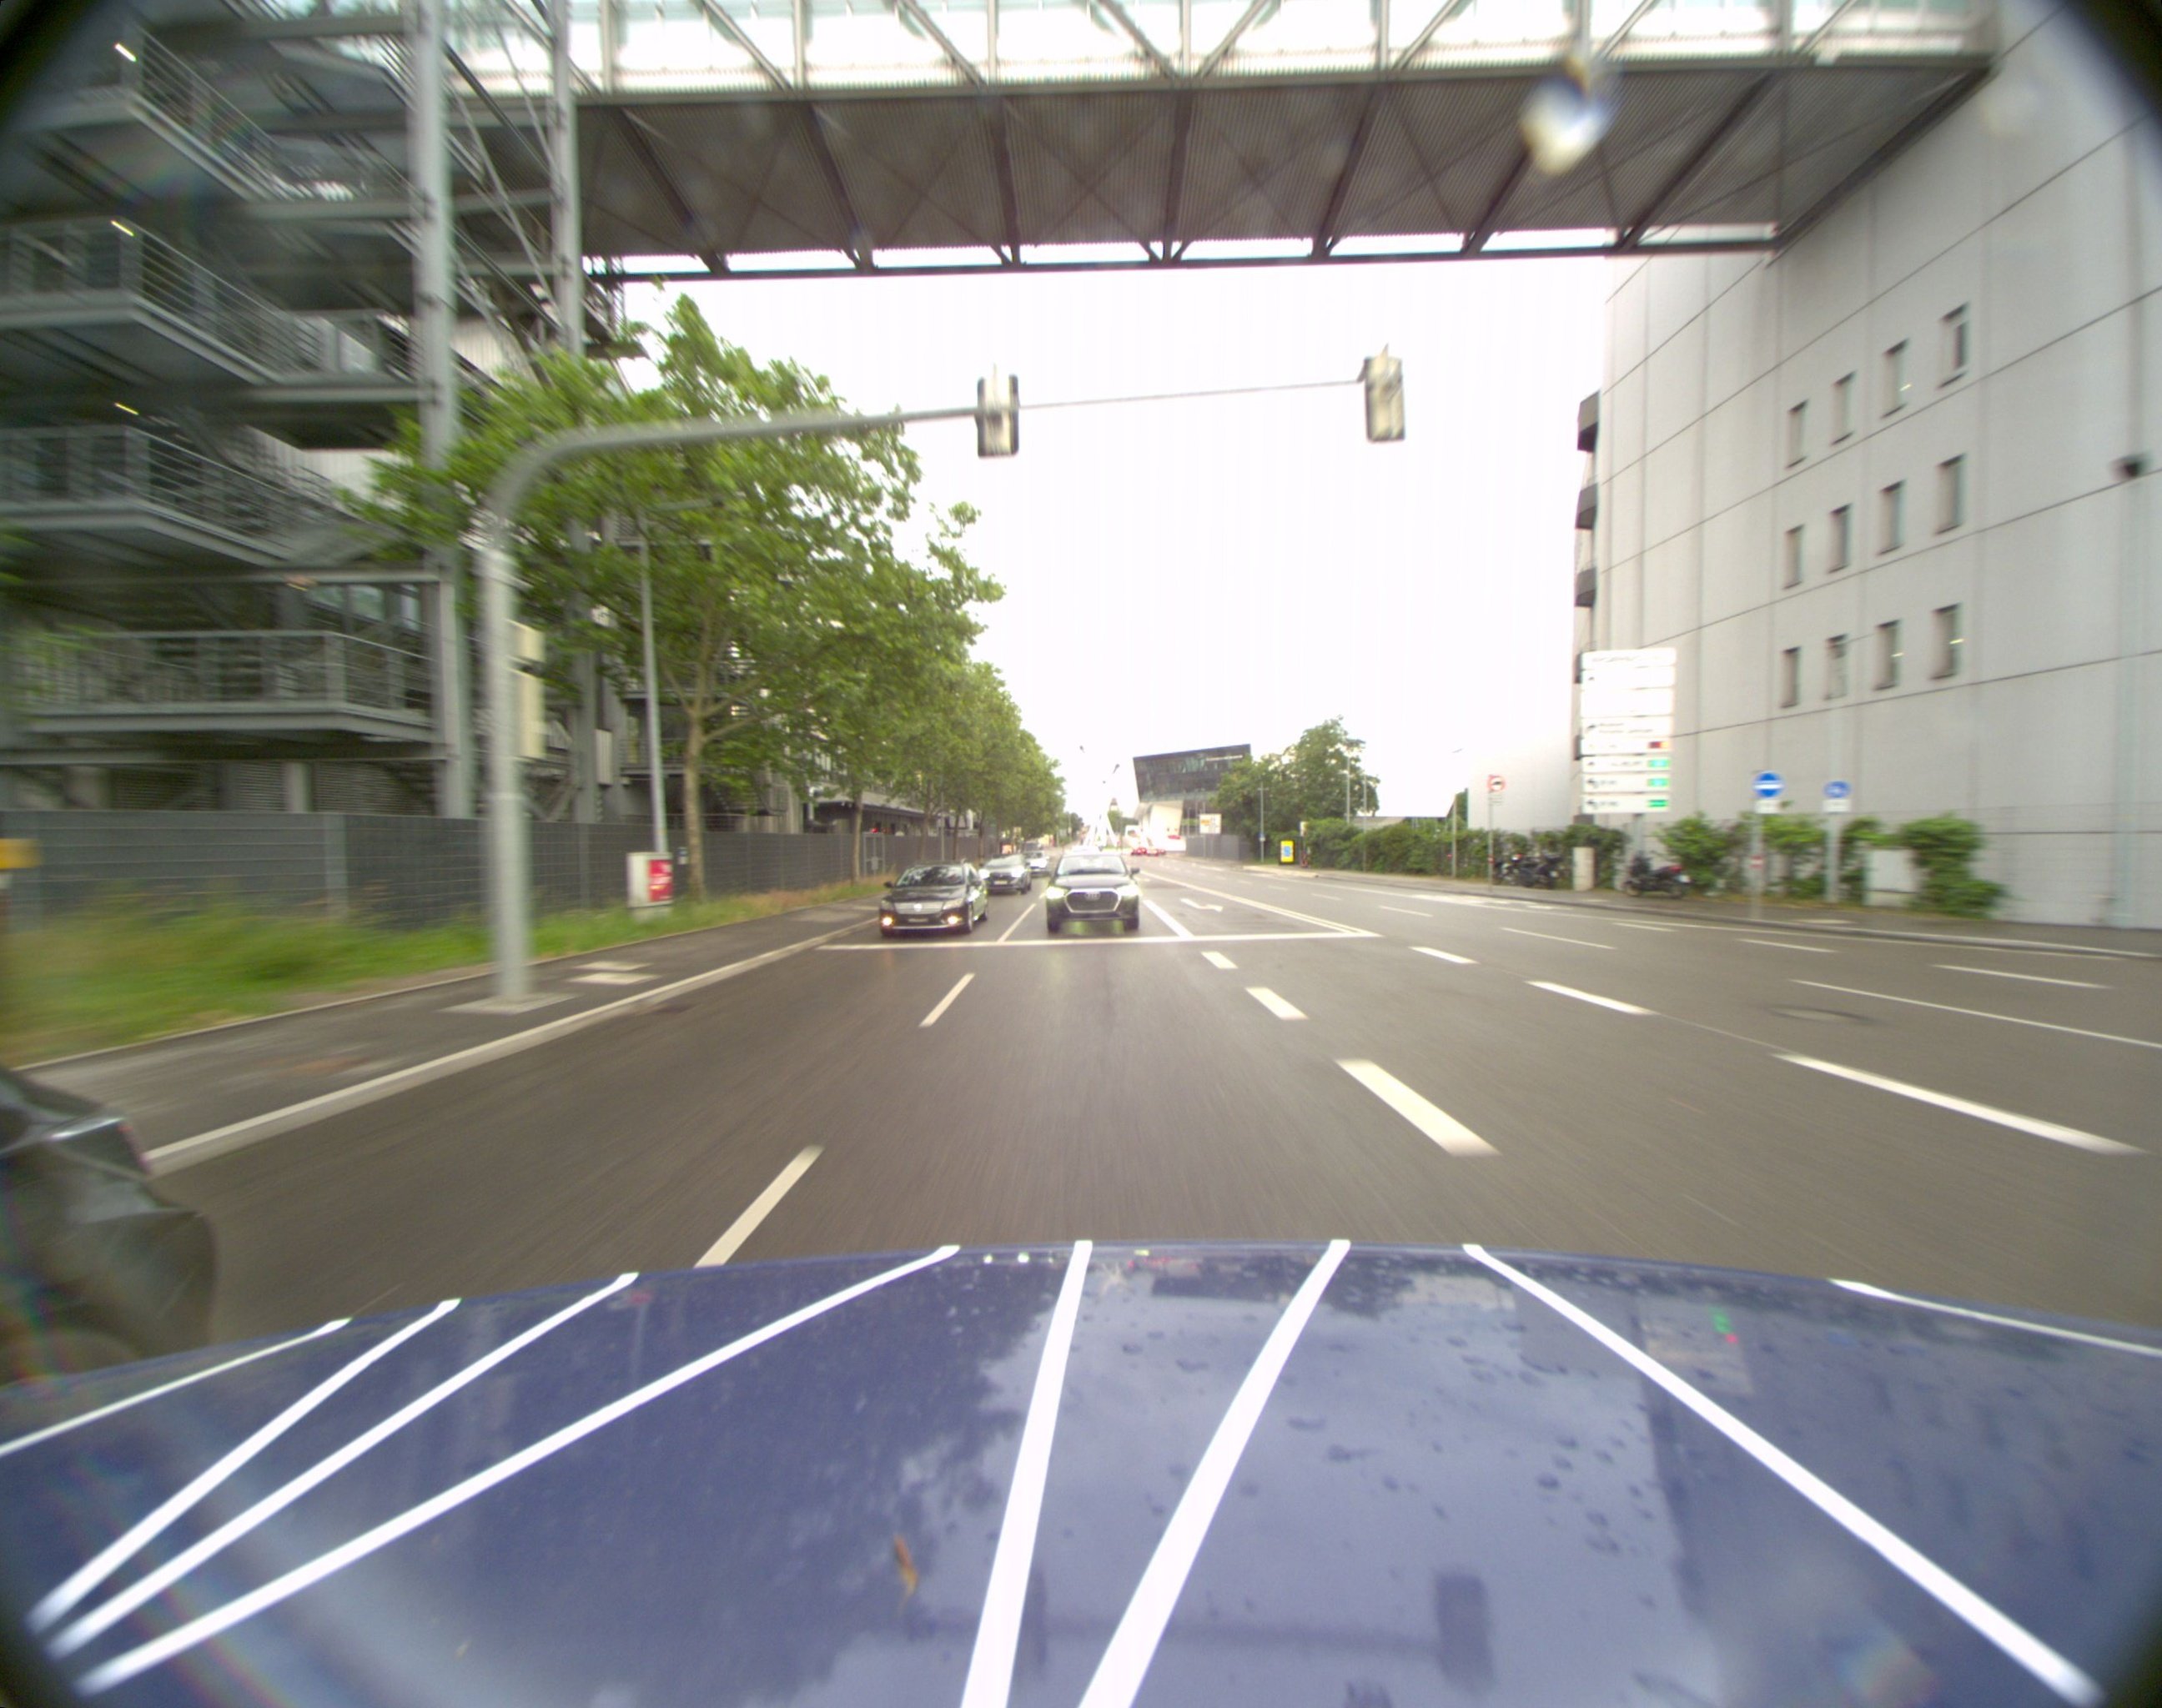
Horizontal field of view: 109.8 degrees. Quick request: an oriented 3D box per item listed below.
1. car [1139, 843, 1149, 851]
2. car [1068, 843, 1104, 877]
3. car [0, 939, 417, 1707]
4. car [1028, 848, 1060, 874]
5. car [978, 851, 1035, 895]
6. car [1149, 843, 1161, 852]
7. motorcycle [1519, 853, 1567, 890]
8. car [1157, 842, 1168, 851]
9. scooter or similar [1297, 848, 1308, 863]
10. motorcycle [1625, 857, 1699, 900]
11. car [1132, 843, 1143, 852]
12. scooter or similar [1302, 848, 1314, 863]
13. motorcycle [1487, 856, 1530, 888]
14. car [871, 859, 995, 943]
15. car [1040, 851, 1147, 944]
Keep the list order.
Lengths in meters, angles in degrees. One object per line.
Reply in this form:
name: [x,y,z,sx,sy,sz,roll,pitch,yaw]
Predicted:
car: [12.203,-1.310,148.059,1.776,1.580,4.485,0,1,2]
car: [0.265,0.318,45.622,2.035,1.920,4.331,-1,1,0]
car: [-3.054,1.056,0.131,1.749,1.461,4.640,-2,1,0]
car: [-2.368,0.413,49.241,1.820,1.571,4.331,-1,1,0]
car: [-2.917,0.704,30.552,1.825,1.581,4.331,-1,1,0]
car: [13.623,-1.251,139.987,2.036,1.580,4.485,0,1,2]
motorcycle: [16.858,0.617,27.788,0.626,1.260,2.171,-2,1,6]
car: [15.655,-1.451,146.952,1.776,1.580,4.485,0,1,2]
scooter or similar: [16.676,0.087,57.144,0.394,1.123,1.569,0,1,1]
motorcycle: [16.959,0.685,22.241,0.569,1.156,2.038,0,1,-1]
car: [10.490,-1.171,141.927,1.776,1.580,4.485,0,1,2]
scooter or similar: [16.572,0.108,55.459,0.394,1.123,1.569,0,1,1]
motorcycle: [17.035,0.707,30.348,0.626,1.208,1.968,0,1,1]
car: [-3.000,0.886,16.331,1.749,1.422,4.516,-2,1,0]
car: [0.221,0.744,15.929,1.820,1.536,5.607,-1,1,0]
